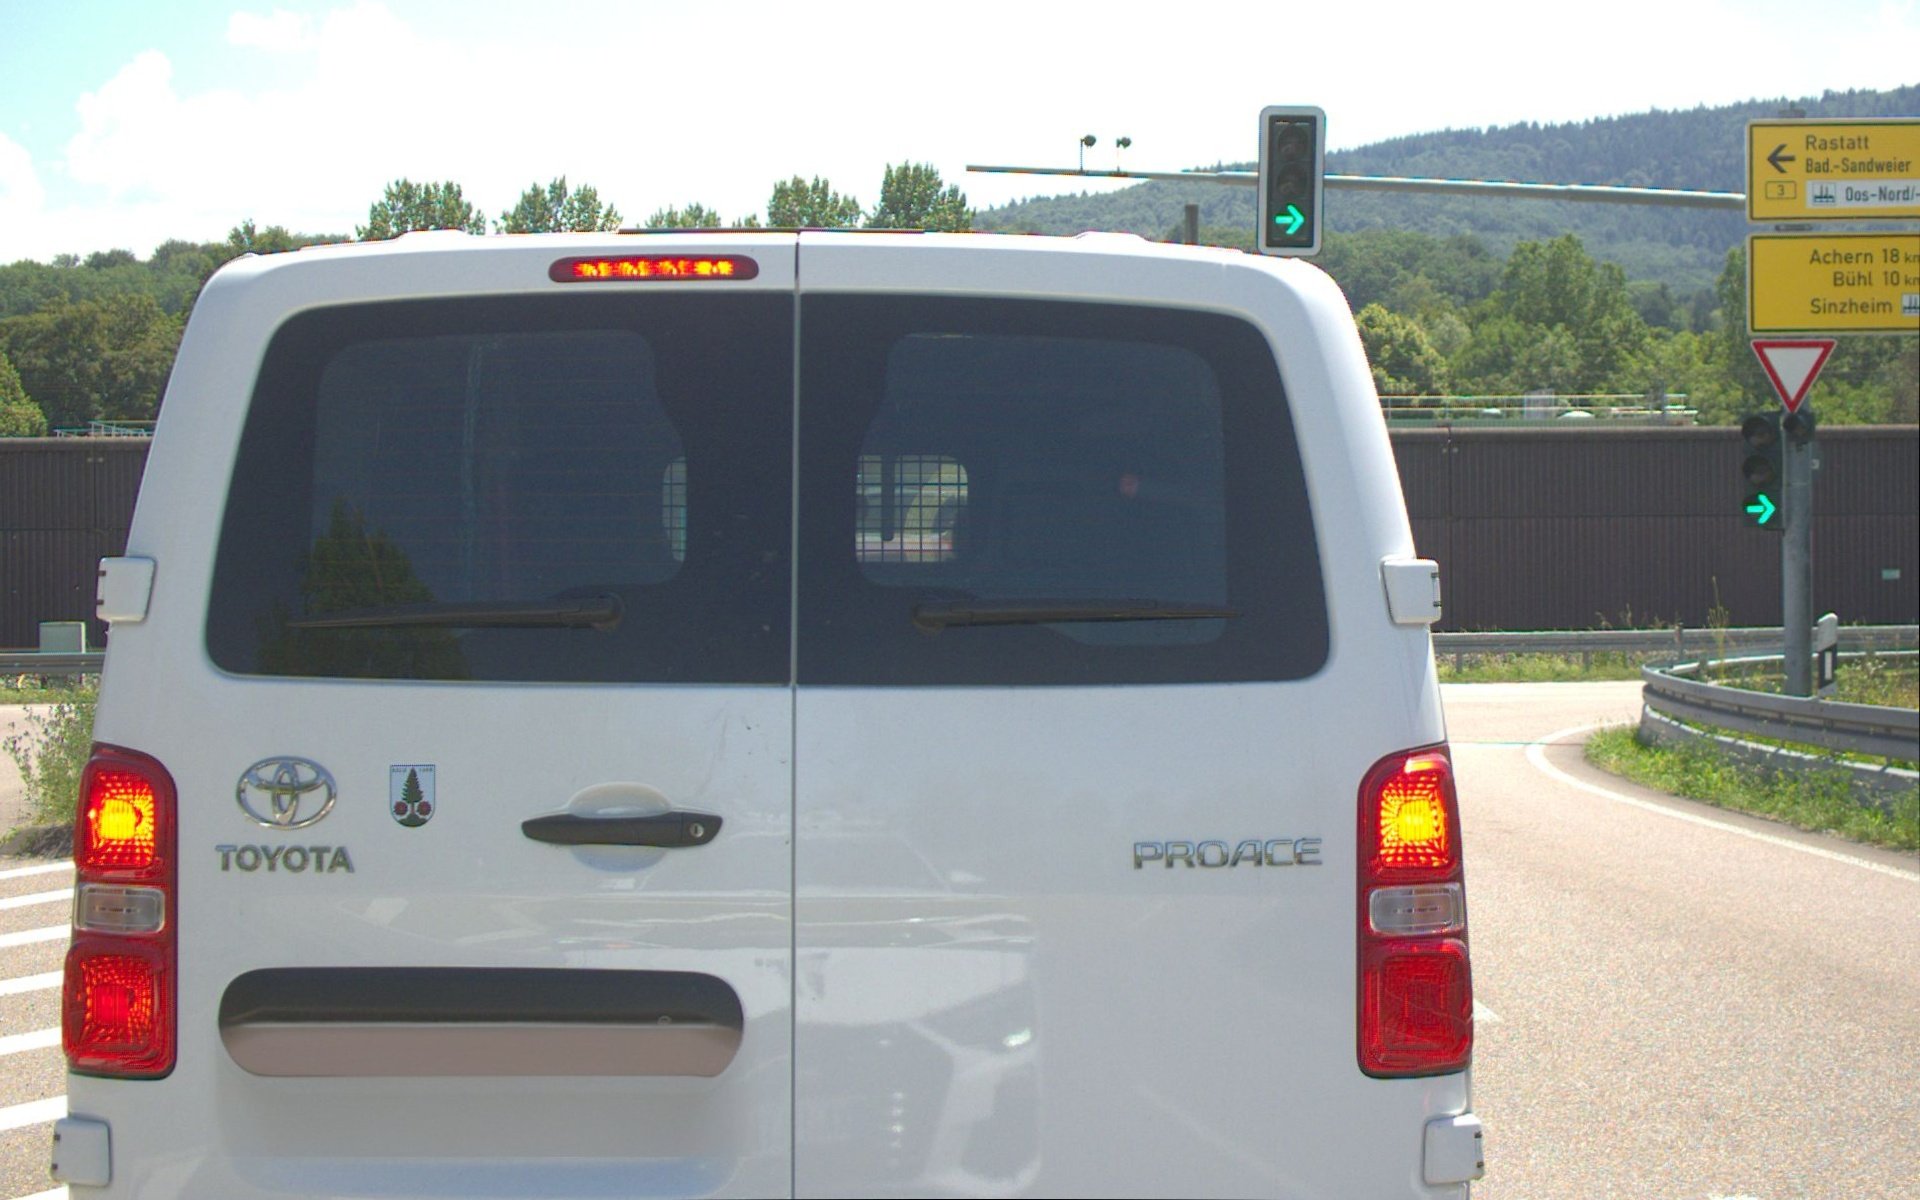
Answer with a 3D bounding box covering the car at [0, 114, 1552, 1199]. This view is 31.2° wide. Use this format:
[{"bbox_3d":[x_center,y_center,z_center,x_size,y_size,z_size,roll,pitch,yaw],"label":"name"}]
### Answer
[{"bbox_3d":[-0.256,0.433,5.938,1.814,2.011,4.000,0,1,-1],"label":"car"}]
